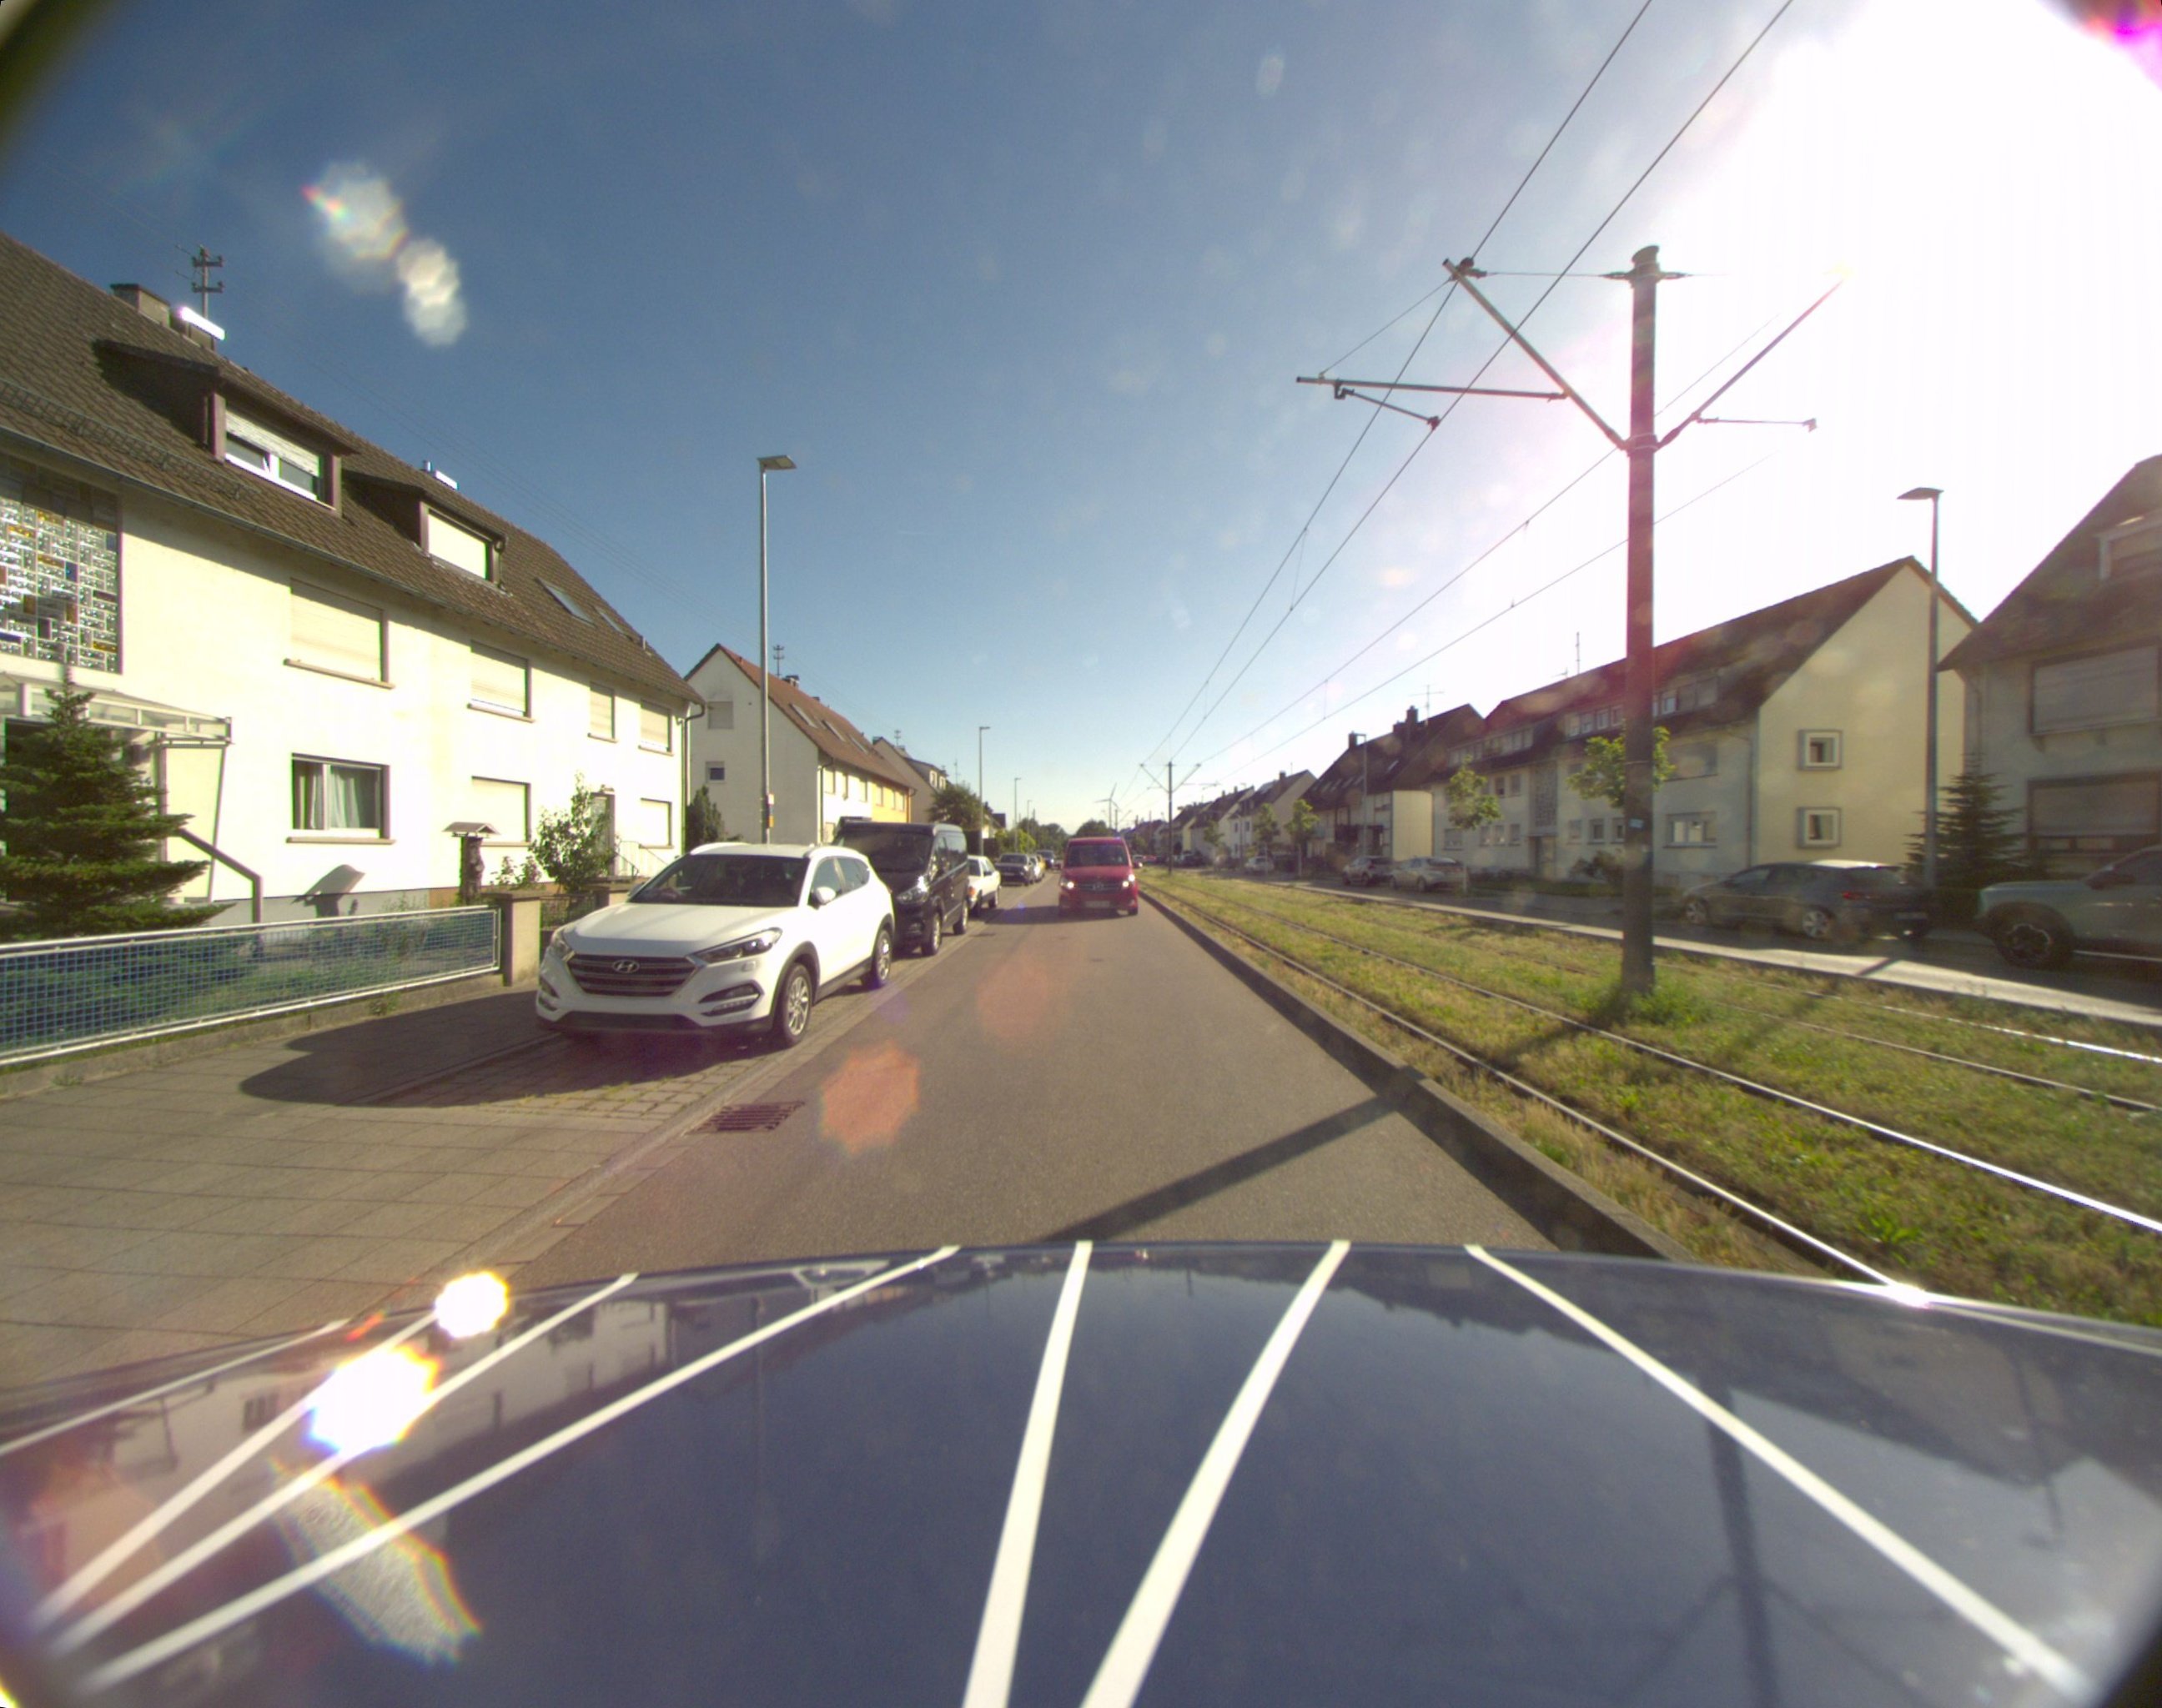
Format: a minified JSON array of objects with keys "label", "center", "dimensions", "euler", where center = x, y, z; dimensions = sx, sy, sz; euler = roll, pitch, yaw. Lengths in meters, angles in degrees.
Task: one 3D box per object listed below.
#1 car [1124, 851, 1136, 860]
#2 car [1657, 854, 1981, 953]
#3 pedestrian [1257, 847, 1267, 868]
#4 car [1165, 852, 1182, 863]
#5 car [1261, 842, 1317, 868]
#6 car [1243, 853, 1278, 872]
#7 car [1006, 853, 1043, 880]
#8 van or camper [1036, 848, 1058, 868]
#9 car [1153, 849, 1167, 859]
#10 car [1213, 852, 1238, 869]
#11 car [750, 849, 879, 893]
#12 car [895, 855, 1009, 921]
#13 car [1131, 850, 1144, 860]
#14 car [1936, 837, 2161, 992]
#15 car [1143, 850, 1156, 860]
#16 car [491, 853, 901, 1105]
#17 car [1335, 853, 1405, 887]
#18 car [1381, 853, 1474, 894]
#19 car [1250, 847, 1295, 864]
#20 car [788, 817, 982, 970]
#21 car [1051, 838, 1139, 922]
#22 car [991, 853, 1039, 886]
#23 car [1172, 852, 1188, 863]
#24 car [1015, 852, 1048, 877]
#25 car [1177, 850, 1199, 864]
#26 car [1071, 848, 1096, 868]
[{"label":"car","center":[8.410,0.286,131.918],"dimensions":[1.693,1.467,4.082],"euler":[-2,1,-1]},{"label":"car","center":[14.061,0.831,14.971],"dimensions":[1.965,1.531,4.556],"euler":[-2,1,0]},{"label":"pedestrian","center":[15.970,0.306,67.197],"dimensions":[0.617,1.805,0.678],"euler":[-2,1,-9]},{"label":"car","center":[12.755,0.418,104.871],"dimensions":[1.658,1.447,4.399],"euler":[-2,1,-1]},{"label":"car","center":[18.899,0.098,69.217],"dimensions":[4.472,2.069,1.787],"euler":[-3,1,0]},{"label":"car","center":[14.239,0.645,60.475],"dimensions":[1.662,1.428,4.102],"euler":[-1,0,-1]},{"label":"car","center":[-3.074,0.683,42.305],"dimensions":[1.752,1.438,4.698],"euler":[1,-1,0]},{"label":"van or camper","center":[-3.232,0.356,72.214],"dimensions":[1.954,1.836,5.581],"euler":[1,1,-2]},{"label":"car","center":[12.427,0.014,119.989],"dimensions":[1.705,1.389,4.091],"euler":[-2,1,-1]},{"label":"car","center":[13.916,0.617,73.240],"dimensions":[1.623,1.503,4.084],"euler":[-1,0,1]},{"label":"car","center":[-10.686,0.639,30.739],"dimensions":[4.426,1.645,2.196],"euler":[-1,1,-3]},{"label":"car","center":[-3.214,0.776,20.103],"dimensions":[1.857,1.435,5.613],"euler":[2,0,2]},{"label":"car","center":[8.715,0.081,117.673],"dimensions":[1.693,1.467,3.678],"euler":[-2,1,-1]},{"label":"car","center":[13.776,0.718,9.056],"dimensions":[1.749,1.812,4.841],"euler":[-2,0,1]},{"label":"car","center":[11.832,0.193,131.661],"dimensions":[1.832,1.522,4.091],"euler":[-2,1,-1]},{"label":"car","center":[-3.145,0.855,7.347],"dimensions":[1.730,1.636,4.318],"euler":[1,1,0]},{"label":"car","center":[14.135,0.736,37.445],"dimensions":[1.693,1.464,4.313],"euler":[-2,1,-1]},{"label":"car","center":[14.146,0.758,31.271],"dimensions":[1.693,1.467,4.441],"euler":[-2,1,-1]},{"label":"car","center":[20.517,0.195,81.491],"dimensions":[4.404,1.773,1.970],"euler":[0,0,-1]},{"label":"car","center":[-3.106,0.528,13.354],"dimensions":[1.964,2.132,5.335],"euler":[1,1,0]},{"label":"car","center":[0.275,0.567,20.181],"dimensions":[1.999,1.889,5.389],"euler":[-1,1,-1]},{"label":"car","center":[-3.128,0.702,36.786],"dimensions":[1.782,1.490,4.728],"euler":[0,0,1]},{"label":"car","center":[13.047,0.468,99.981],"dimensions":[1.469,1.459,3.998],"euler":[0,0,-2]},{"label":"car","center":[-3.192,0.649,49.839],"dimensions":[1.810,1.550,4.925],"euler":[1,1,0]},{"label":"car","center":[13.290,0.360,94.785],"dimensions":[1.926,1.551,4.857],"euler":[-2,1,-2]},{"label":"car","center":[0.219,0.307,66.830],"dimensions":[1.862,1.592,4.326],"euler":[2,1,-4]}]
